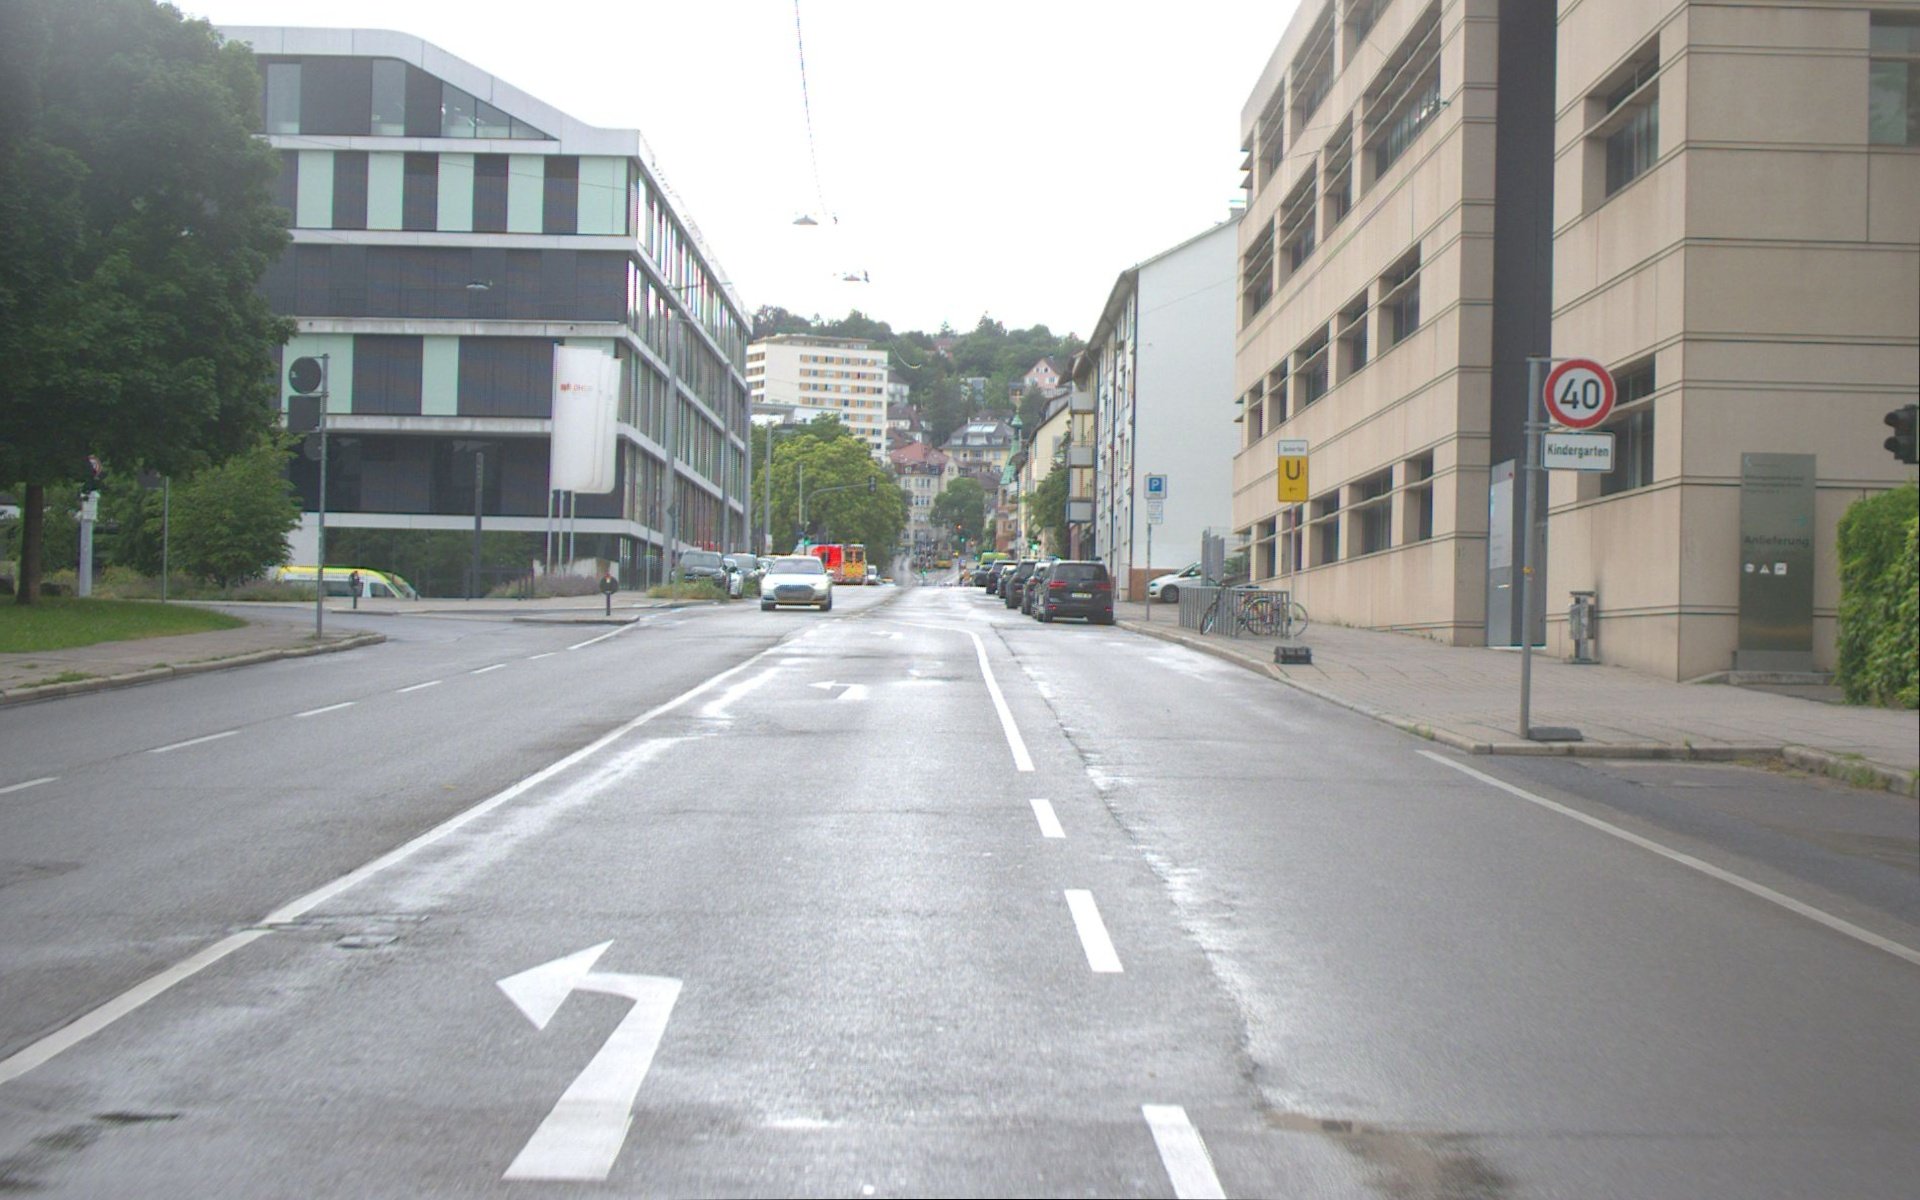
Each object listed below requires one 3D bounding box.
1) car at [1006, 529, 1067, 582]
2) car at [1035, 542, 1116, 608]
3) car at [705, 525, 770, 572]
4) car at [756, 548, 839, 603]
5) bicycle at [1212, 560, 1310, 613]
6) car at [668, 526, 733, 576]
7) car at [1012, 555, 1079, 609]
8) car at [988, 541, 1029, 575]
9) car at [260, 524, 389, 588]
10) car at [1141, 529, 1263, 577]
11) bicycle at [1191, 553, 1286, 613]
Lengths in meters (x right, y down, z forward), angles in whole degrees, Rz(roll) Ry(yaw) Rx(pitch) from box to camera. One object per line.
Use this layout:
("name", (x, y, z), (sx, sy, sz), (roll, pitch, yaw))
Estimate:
("car", (2.700, -1.565, 121.839), (1.935, 1.744, 4.797), (2, 1, -1))
("car", (2.969, -0.653, 89.307), (1.771, 1.598, 4.395), (2, 1, -2))
("car", (-8.650, -1.994, 134.156), (1.963, 1.744, 4.941), (2, 1, 2))
("car", (-4.557, -0.712, 97.114), (1.882, 1.486, 5.220), (0, 1, 2))
("bicycle", (5.737, -0.256, 65.472), (1.758, 0.950, 0.660), (2, 0, -3))
("car", (-8.832, -1.672, 117.311), (1.849, 1.612, 4.491), (2, 1, 0))
("car", (2.593, -0.574, 105.362), (1.743, 1.528, 4.320), (3, 1, -2))
("car", (2.194, -1.891, 156.445), (1.706, 1.449, 3.985), (2, 1, -1))
("car", (-23.949, -1.655, 129.660), (4.589, 2.167, 1.932), (2, 0, -6))
("car", (9.176, -1.777, 130.669), (4.438, 1.707, 1.905), (-1, 0, -1))
("bicycle", (5.379, -0.328, 66.452), (1.729, 1.115, 0.660), (1, 0, -5))
